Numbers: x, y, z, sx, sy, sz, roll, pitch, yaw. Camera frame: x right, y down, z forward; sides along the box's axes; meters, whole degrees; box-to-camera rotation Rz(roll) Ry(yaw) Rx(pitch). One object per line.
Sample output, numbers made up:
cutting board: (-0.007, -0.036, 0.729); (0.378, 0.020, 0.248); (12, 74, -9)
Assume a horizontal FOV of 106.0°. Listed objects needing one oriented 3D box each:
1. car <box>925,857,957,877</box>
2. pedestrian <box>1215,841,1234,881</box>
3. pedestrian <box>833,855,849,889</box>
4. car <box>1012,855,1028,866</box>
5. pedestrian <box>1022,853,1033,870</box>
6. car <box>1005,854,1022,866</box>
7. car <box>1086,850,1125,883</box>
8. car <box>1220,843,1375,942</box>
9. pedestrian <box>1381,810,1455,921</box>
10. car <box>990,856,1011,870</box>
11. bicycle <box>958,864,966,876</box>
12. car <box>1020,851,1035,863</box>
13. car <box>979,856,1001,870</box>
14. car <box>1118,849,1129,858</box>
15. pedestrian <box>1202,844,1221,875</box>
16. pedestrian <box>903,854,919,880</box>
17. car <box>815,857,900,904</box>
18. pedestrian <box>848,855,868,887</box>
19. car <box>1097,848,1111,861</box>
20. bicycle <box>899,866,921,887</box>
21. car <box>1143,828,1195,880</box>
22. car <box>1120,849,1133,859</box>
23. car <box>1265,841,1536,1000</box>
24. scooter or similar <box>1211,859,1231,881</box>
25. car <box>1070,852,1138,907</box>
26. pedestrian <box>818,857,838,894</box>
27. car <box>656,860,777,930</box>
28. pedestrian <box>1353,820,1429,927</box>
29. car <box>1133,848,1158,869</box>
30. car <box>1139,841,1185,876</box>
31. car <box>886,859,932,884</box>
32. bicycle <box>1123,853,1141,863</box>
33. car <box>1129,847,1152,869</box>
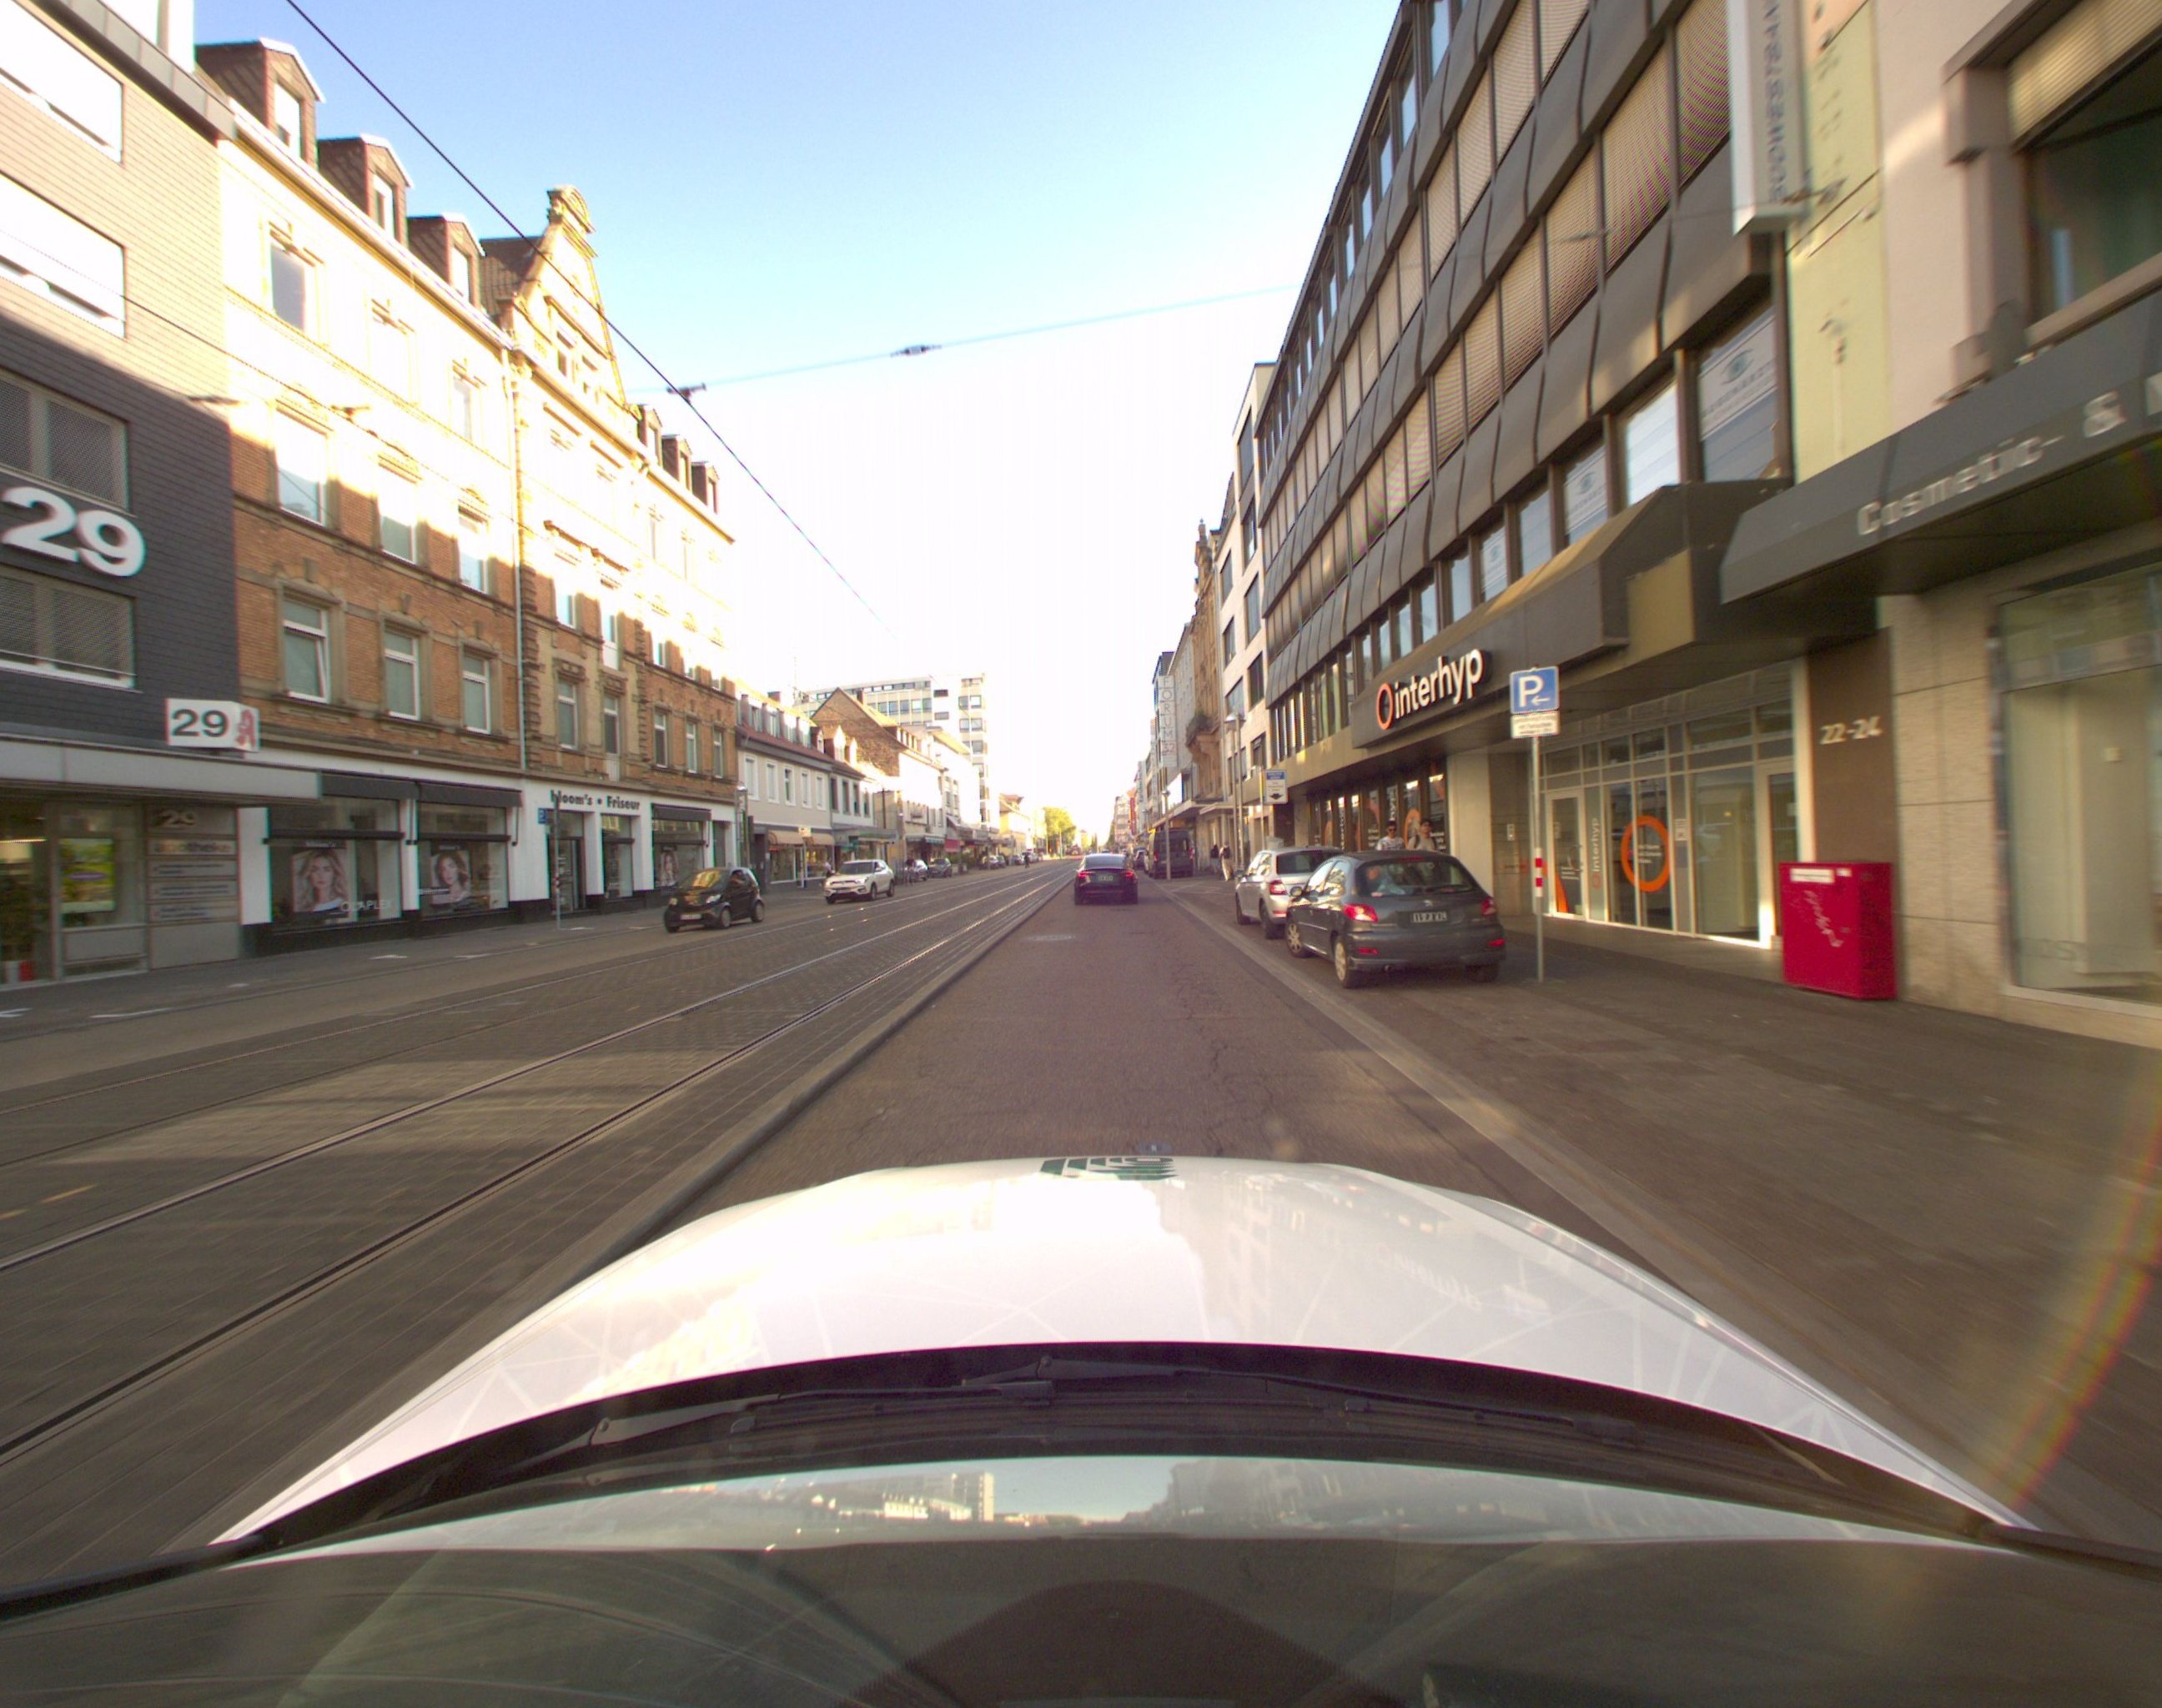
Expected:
car: (-11.073, 1.005, 64.638); (1.668, 1.546, 3.747); (0, 0, 4)
pedestrian: (6.341, 0.310, 35.969); (0.554, 1.714, 0.955); (-4, 0, 0)
pedestrian: (-13.179, 0.997, 44.768); (0.655, 1.823, 0.641); (-2, 0, -4)
car: (-9.181, 0.916, 122.024); (1.762, 1.508, 3.976); (-2, 0, 4)
pedestrian: (-5.890, 0.786, 90.175); (0.764, 1.849, 0.833); (-3, 0, 32)
car: (-9.593, 0.901, 116.189); (1.710, 1.571, 3.853); (-2, 0, 4)
car: (1.245, 0.588, 39.468); (1.754, 1.418, 4.357); (-2, -1, 3)
car: (3.754, 0.597, 14.889); (1.739, 1.462, 4.297); (-3, 0, 2)
pedestrian: (5.581, 0.186, 13.555); (0.776, 1.752, 1.033); (-2, 0, 2)
car: (-9.755, 1.057, 98.839); (1.761, 1.508, 3.866); (-2, 0, 5)
bicycle: (-10.447, 1.366, 71.478); (0.369, 1.002, 1.596); (-2, 0, -16)
car: (-8.836, 0.503, 135.405); (2.001, 1.961, 4.726); (-2, 0, 2)
car: (-10.357, 0.976, 92.714); (1.762, 1.508, 3.867); (-2, 0, 3)
car: (8.272, -0.104, 159.819); (1.986, 1.753, 4.001); (-2, -1, 2)
pedestrian: (6.749, 0.280, 42.099); (0.766, 1.543, 0.804); (-4, 0, 1)
pedestrian: (-9.816, 0.749, 46.927); (0.621, 1.444, 0.876); (-2, -1, 6)
car: (-8.665, 0.981, 31.963); (1.882, 1.594, 4.265); (-4, 0, 2)
pedestrian: (-12.478, 0.957, 45.617); (0.883, 1.775, 0.688); (-2, 0, 0)
car: (3.656, 0.039, 129.007); (2.077, 1.870, 3.756); (-2, 0, 2)
bicycle: (-9.811, 1.261, 46.780); (0.575, 1.115, 1.956); (-2, 0, 6)
car: (4.650, -0.020, 43.885); (2.164, 2.461, 5.363); (-4, 0, 1)
car: (7.361, 0.048, 131.321); (1.986, 1.543, 4.001); (-2, -1, 2)
car: (3.604, 0.644, 10.123); (1.840, 1.462, 4.306); (-3, 0, 4)
scooter or similar: (6.334, 0.710, 36.924); (0.591, 0.936, 1.298); (-4, 0, 0)
car: (0.724, 0.711, 24.821); (1.862, 1.427, 4.367); (-2, 0, 2)
pedestrian: (-12.354, 1.050, 39.778); (0.609, 1.775, 0.721); (-2, 0, 15)
car: (-9.150, 0.971, 20.670); (1.642, 1.566, 2.831); (-2, 0, 2)
pedestrian: (5.638, 0.342, 14.880); (0.919, 1.842, 1.000); (-4, 0, 2)
car: (5.089, 0.340, 64.295); (1.745, 1.499, 3.756); (-3, 0, 2)
car: (4.929, 0.252, 50.432); (2.152, 1.926, 4.615); (-5, 0, -1)
car: (-11.555, 1.168, 55.029); (1.986, 1.532, 4.757); (-1, -1, 1)
bicycle: (6.454, 0.485, 102.502); (2.153, 1.097, 0.686); (-2, 0, -1)
car: (5.098, 0.319, 70.437); (1.814, 1.870, 3.756); (-2, 0, 2)
